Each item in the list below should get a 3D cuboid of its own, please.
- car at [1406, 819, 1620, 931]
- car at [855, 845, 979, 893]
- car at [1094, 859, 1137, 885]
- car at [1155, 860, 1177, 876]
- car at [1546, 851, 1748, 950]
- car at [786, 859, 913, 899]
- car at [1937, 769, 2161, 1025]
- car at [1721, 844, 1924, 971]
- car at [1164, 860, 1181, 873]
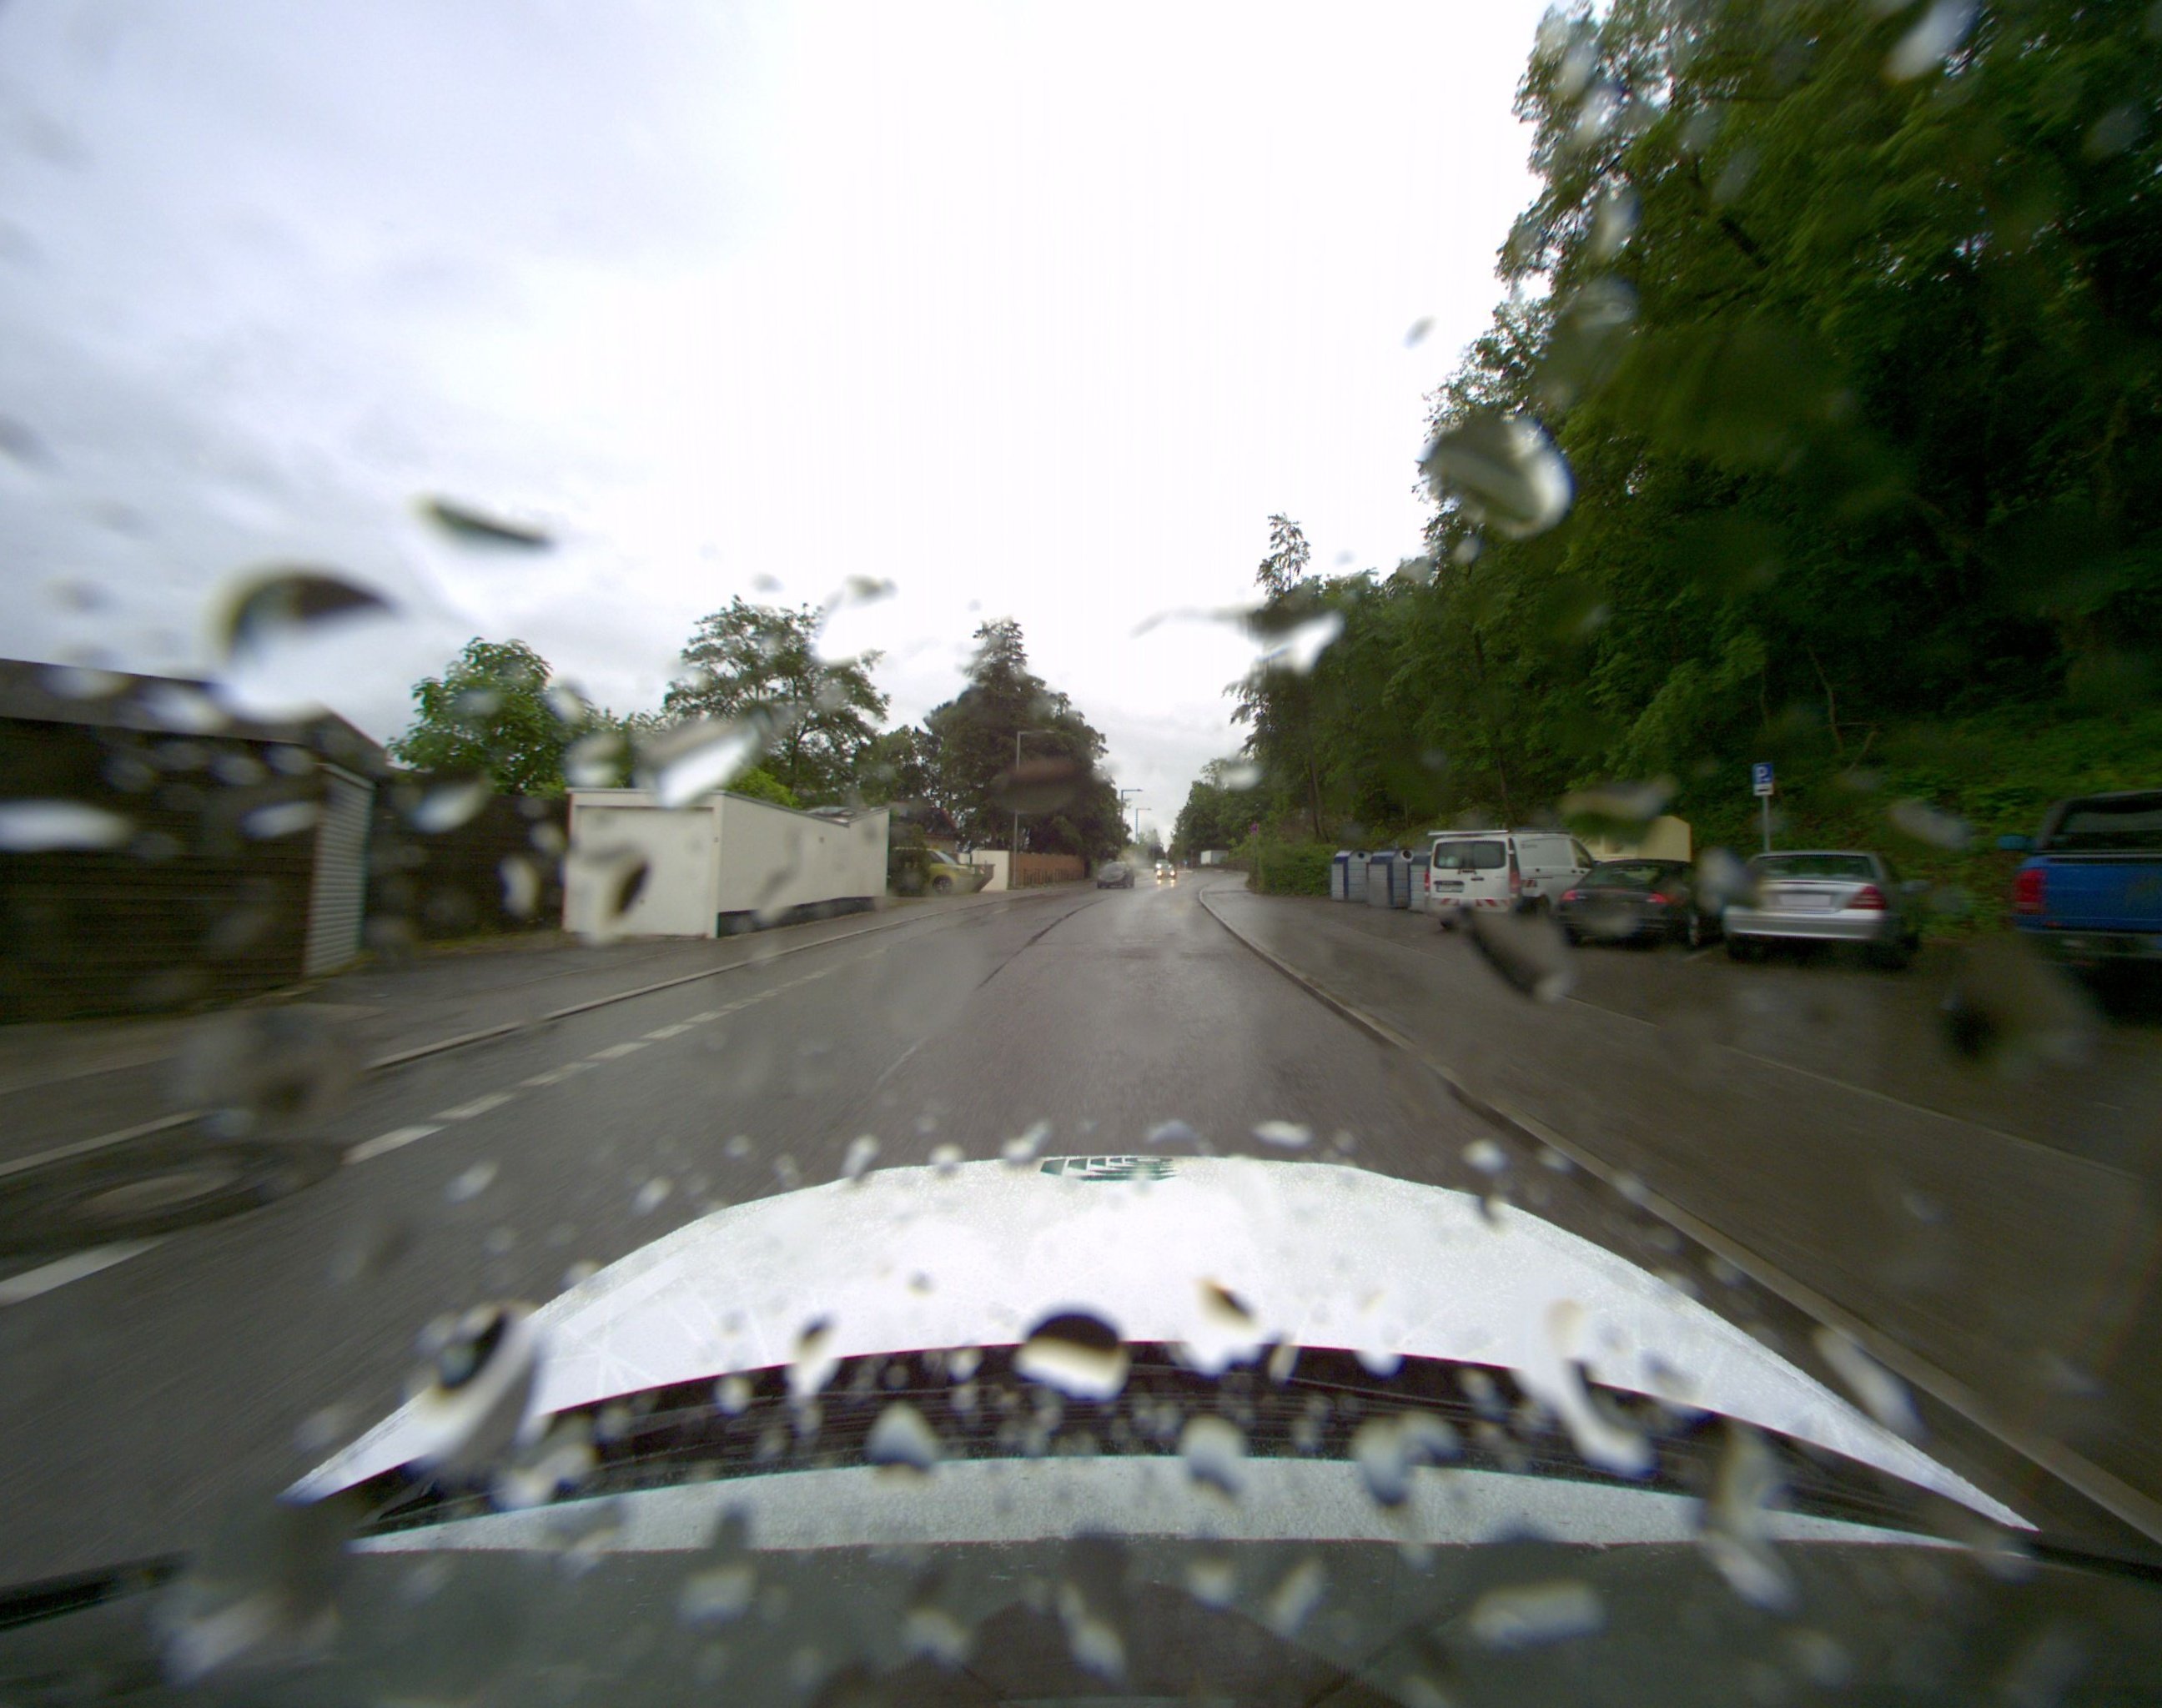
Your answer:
[{"bbox_3d":[8.829,0.365,16.473,4.867,1.940,2.131,0,0,-40],"label":"car"},{"bbox_3d":[-6.639,0.584,33.287,4.475,1.860,2.095,0,0,10],"label":"car"},{"bbox_3d":[2.133,1.062,49.236,1.822,1.511,4.632,0,-1,12],"label":"car"},{"bbox_3d":[8.062,1.328,77.239,1.823,1.511,4.179,0,-1,9],"label":"car"},{"bbox_3d":[9.193,0.645,13.120,3.815,1.348,1.741,0,0,-40],"label":"car"},{"bbox_3d":[-8.219,0.875,29.149,3.978,1.303,1.792,-1,0,3],"label":"car"},{"bbox_3d":[10.418,0.299,8.024,5.509,1.969,2.304,-1,0,-39],"label":"car"},{"bbox_3d":[10.108,0.595,11.002,4.016,1.413,1.607,0,-1,-42],"label":"car"},{"bbox_3d":[12.043,1.583,107.371,1.907,1.648,4.558,-1,-1,9],"label":"car"}]
